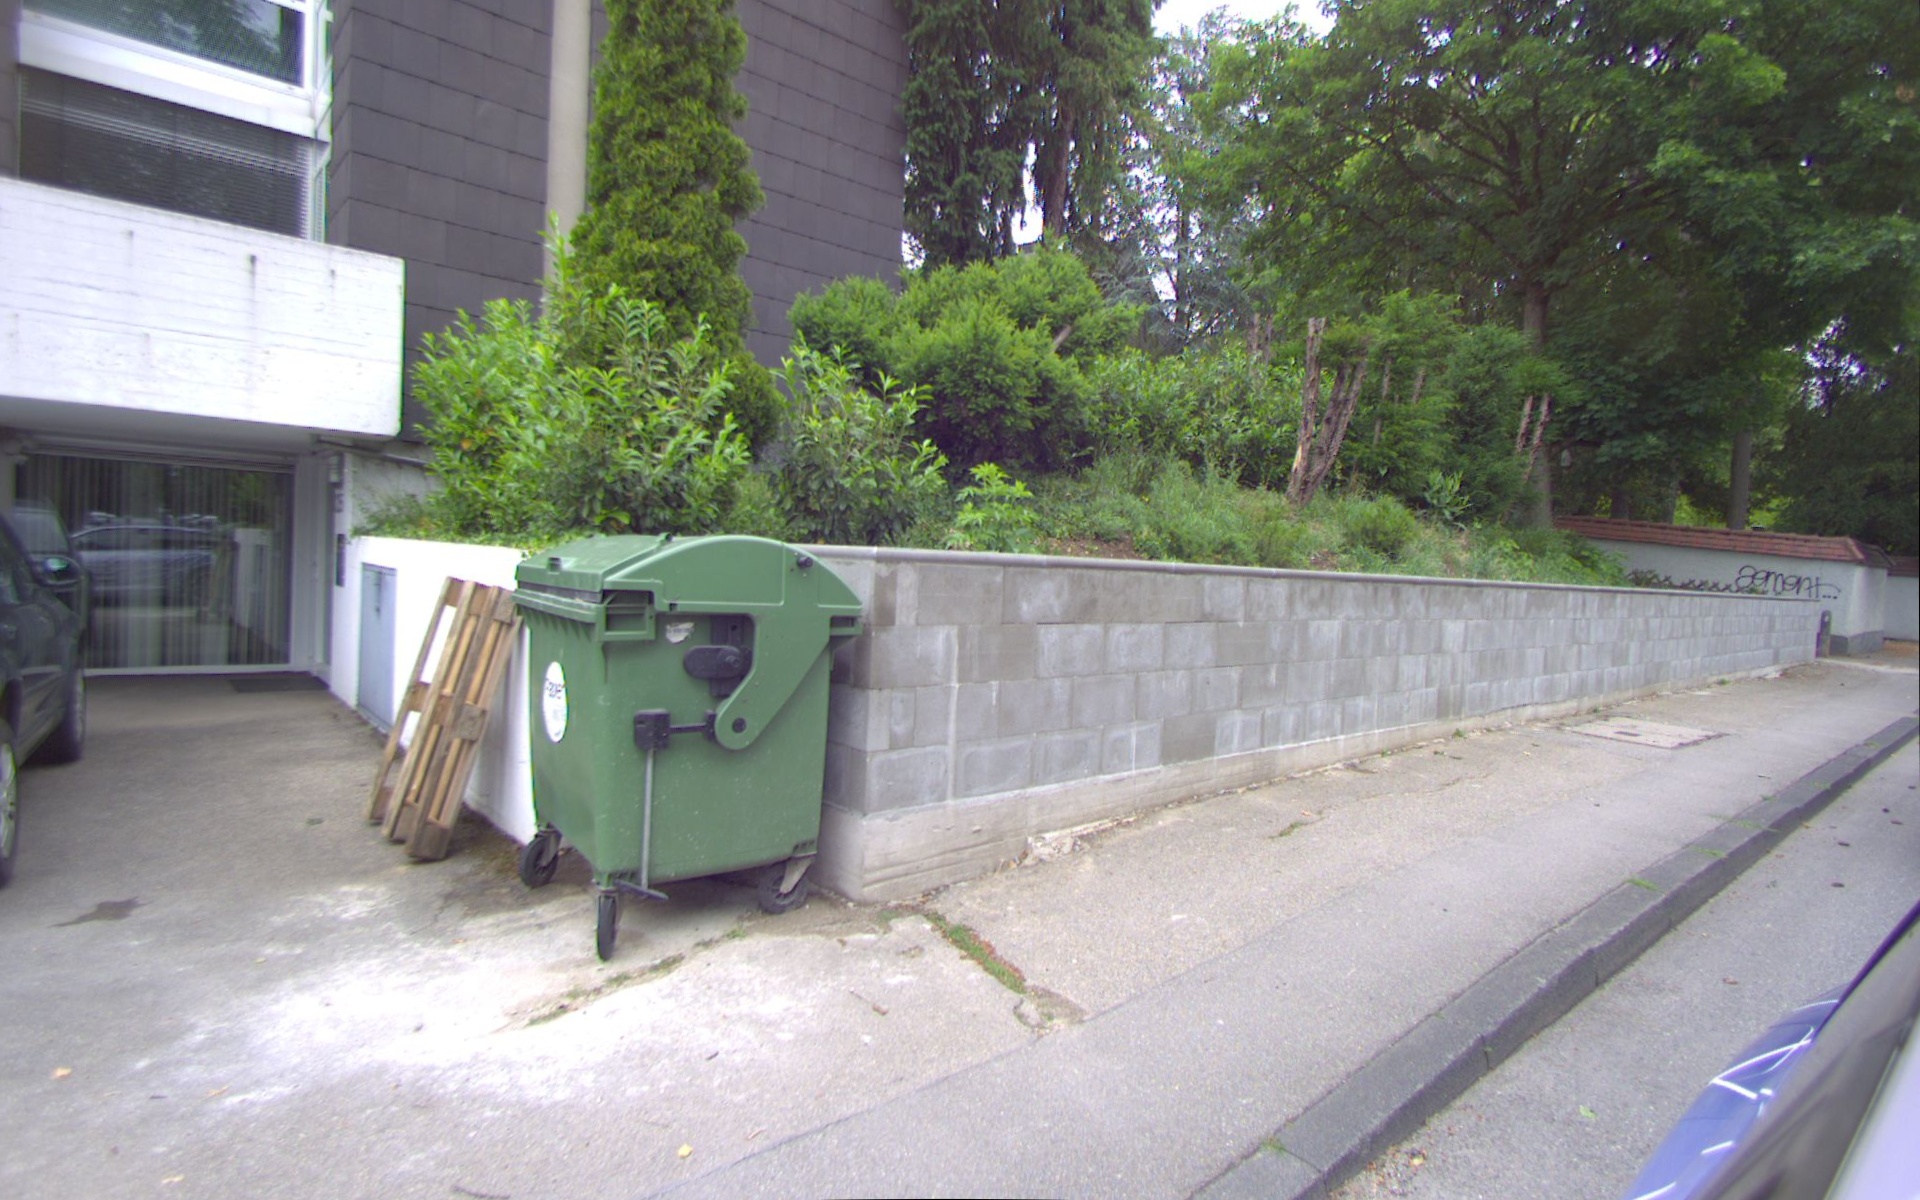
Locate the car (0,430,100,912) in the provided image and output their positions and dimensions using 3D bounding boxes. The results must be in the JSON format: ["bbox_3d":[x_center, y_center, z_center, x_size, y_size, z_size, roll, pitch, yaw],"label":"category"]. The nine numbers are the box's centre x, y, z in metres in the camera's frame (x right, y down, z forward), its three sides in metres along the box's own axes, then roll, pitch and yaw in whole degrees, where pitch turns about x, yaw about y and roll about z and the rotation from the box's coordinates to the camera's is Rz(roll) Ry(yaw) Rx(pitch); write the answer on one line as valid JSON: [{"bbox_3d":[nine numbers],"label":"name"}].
[{"bbox_3d":[-5.019,0.142,4.366,1.712,1.671,3.914,0,4,-36],"label":"car"}]

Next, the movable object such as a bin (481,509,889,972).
[{"bbox_3d":[-1.155,0.408,4.091,1.096,1.469,1.407,0,3,-40],"label":"movable object such as a bin"}]
